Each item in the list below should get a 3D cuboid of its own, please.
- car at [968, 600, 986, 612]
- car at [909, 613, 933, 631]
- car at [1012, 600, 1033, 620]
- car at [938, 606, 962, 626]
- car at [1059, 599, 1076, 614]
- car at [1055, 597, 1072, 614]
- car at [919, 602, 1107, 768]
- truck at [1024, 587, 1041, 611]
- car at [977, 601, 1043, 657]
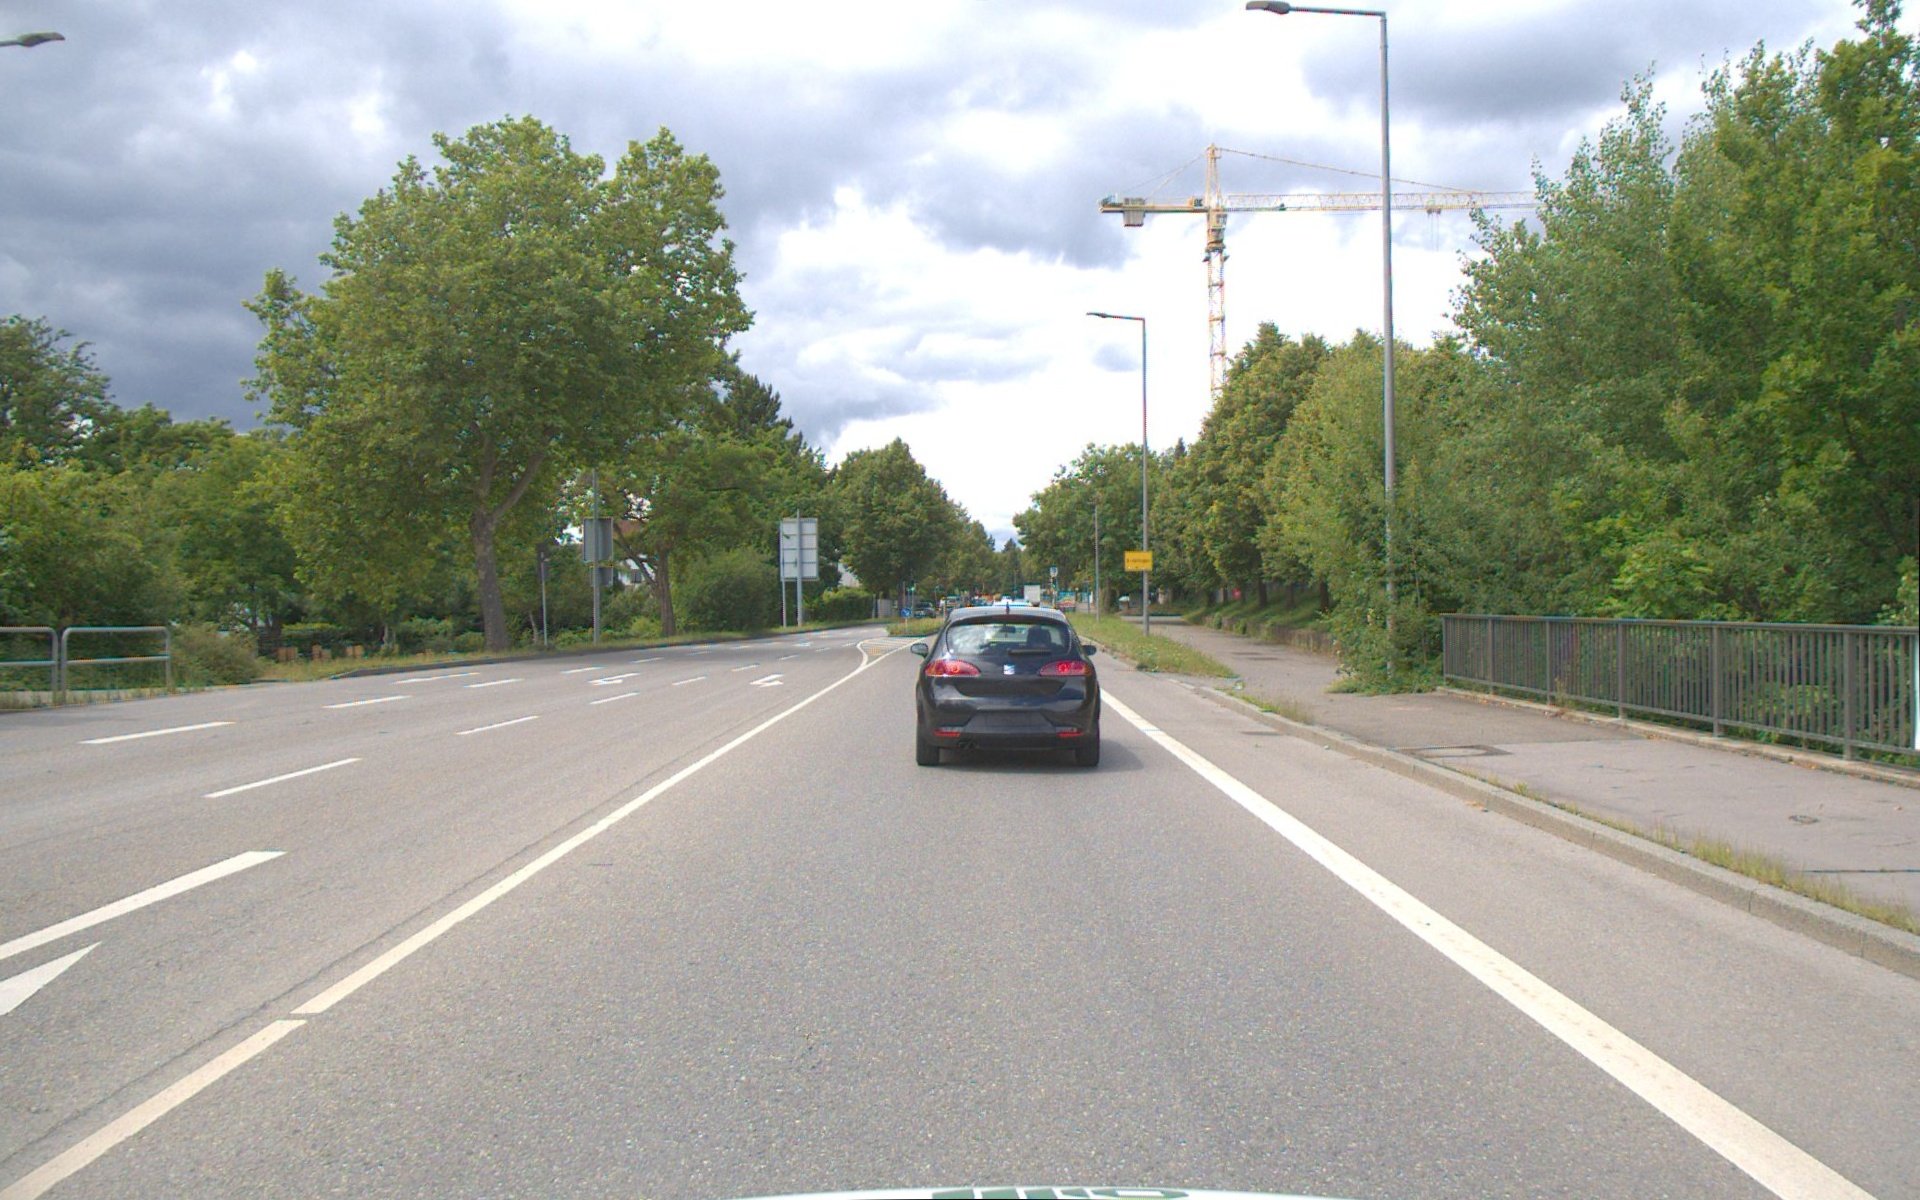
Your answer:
[{"bbox_3d":[2.386,0.872,230.915,2.056,1.532,5.786,-3,0,3],"label":"car"},{"bbox_3d":[-3.400,1.937,144.604,1.682,1.419,4.803,-3,0,3],"label":"car"},{"bbox_3d":[5.792,0.918,153.770,1.842,1.718,4.215,-1,0,3],"label":"car"},{"bbox_3d":[-1.047,1.644,173.698,2.056,1.929,5.786,-3,0,3],"label":"car"},{"bbox_3d":[10.895,0.668,167.614,1.653,1.516,3.356,-1,0,3],"label":"car"},{"bbox_3d":[10.815,0.553,172.741,1.653,1.741,4.215,-1,0,3],"label":"car"},{"bbox_3d":[0.496,0.747,16.292,1.628,1.426,3.812,0,0,1],"label":"car"},{"bbox_3d":[10.020,-0.118,228.903,2.231,3.158,8.513,1,0,3],"label":"truck"},{"bbox_3d":[1.435,0.806,47.220,1.808,1.536,3.812,0,0,2],"label":"car"}]
